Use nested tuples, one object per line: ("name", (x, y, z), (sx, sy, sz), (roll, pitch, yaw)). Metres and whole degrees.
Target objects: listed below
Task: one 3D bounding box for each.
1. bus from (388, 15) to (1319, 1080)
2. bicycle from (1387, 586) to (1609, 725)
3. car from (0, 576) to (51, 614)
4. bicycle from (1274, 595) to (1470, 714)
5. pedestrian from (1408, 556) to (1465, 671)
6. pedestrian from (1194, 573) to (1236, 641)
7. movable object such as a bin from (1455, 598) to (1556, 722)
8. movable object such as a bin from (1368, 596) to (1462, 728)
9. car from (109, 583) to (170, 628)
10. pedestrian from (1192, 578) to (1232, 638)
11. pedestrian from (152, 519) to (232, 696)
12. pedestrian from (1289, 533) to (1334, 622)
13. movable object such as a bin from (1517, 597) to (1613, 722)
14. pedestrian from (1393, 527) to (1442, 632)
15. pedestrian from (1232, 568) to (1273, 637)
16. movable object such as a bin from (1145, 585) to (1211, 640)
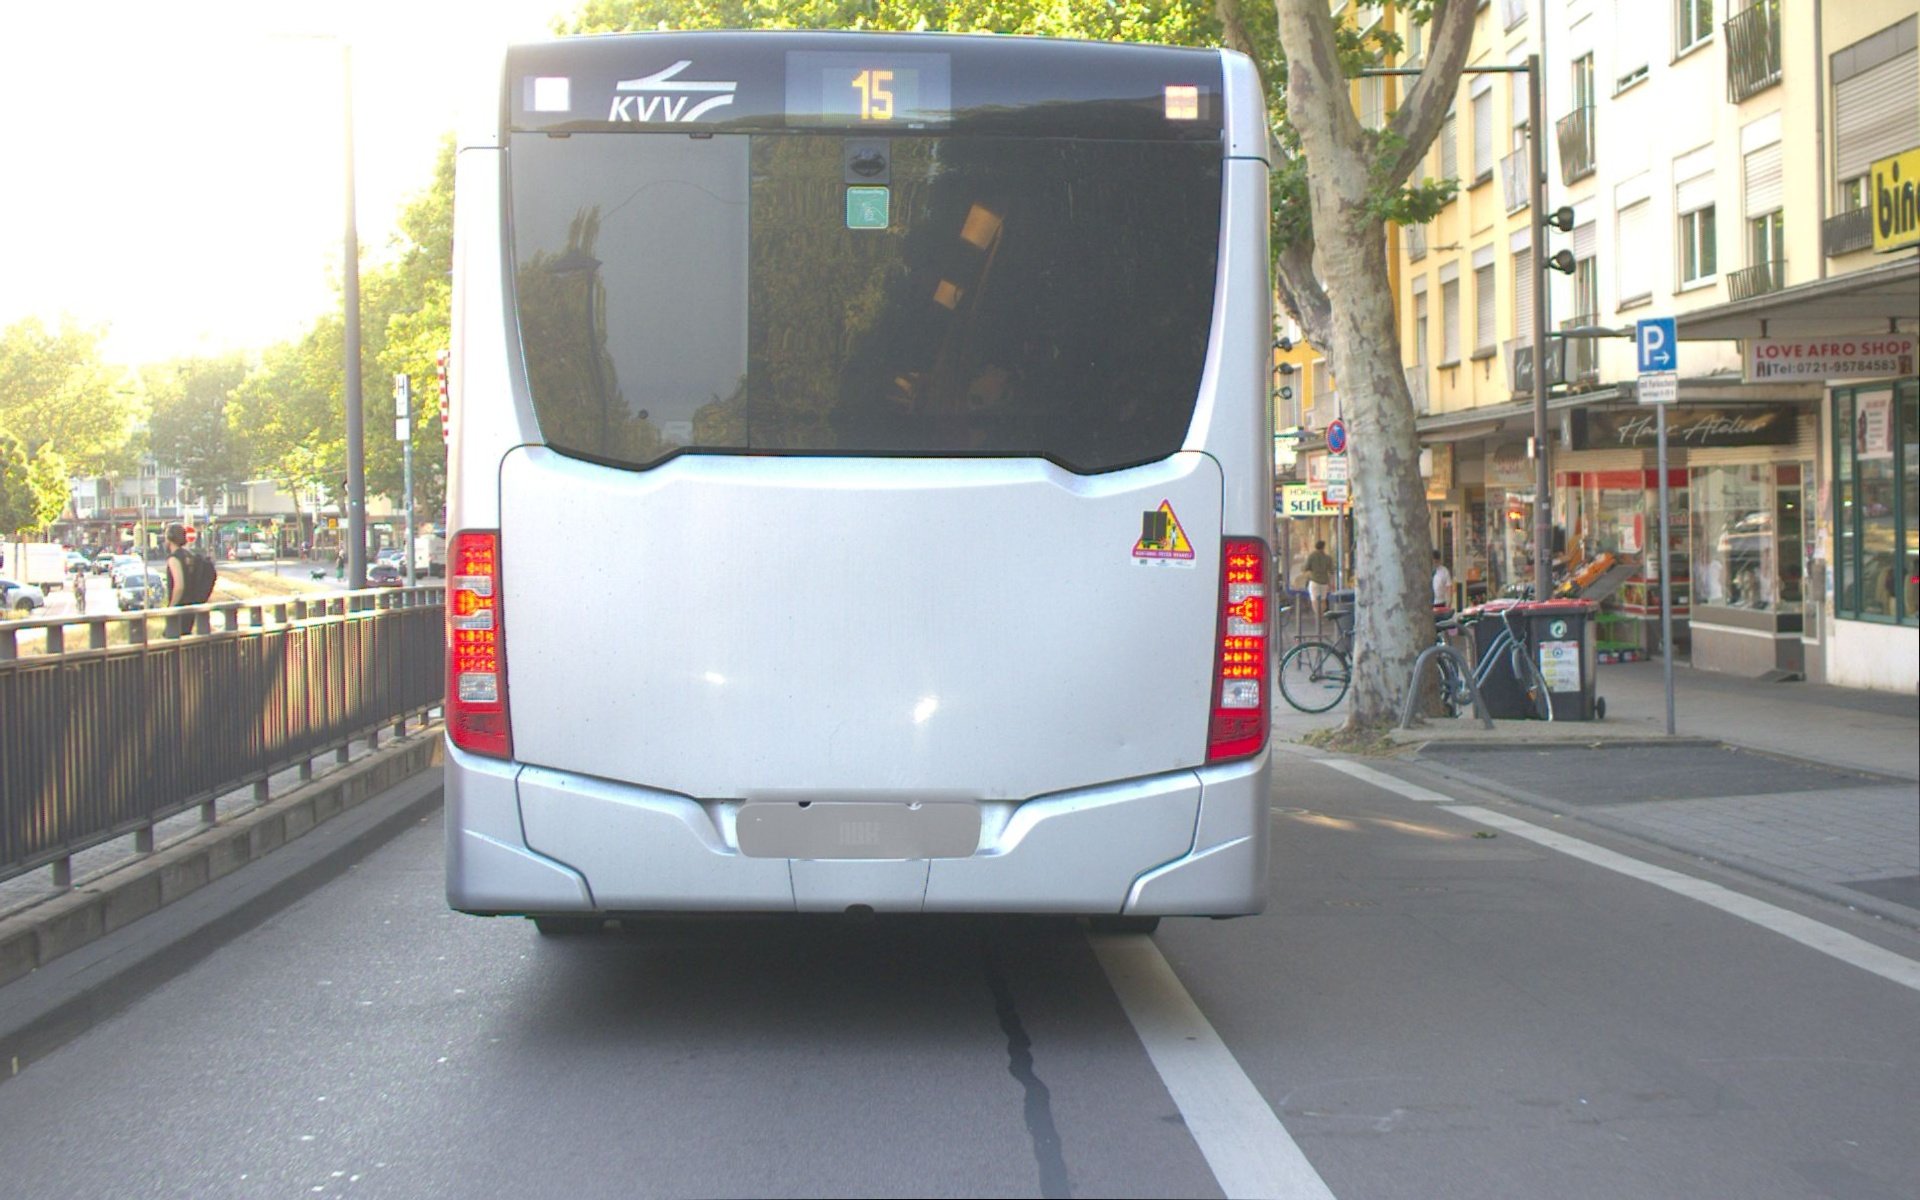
("bus", (-0.512, -0.214, 13.552), (2.677, 3.073, 7.115), (-1, 1, -3))
("bicycle", (4.509, 0.472, 28.892), (1.717, 1.114, 0.745), (-1, -3, -1))
("car", (-37.515, -0.172, 132.264), (4.540, 1.407, 1.999), (-1, 1, -45))
("bicycle", (4.193, 0.556, 35.054), (1.907, 1.101, 0.518), (-3, 0, 5))
("pedestrian", (6.738, 0.190, 48.647), (0.622, 1.581, 0.627), (-3, 1, -3))
("pedestrian", (4.598, 0.121, 61.932), (0.605, 1.221, 0.745), (-1, 0, -8))
("movable object such as a bin", (4.914, 0.534, 31.007), (0.722, 1.068, 0.644), (-3, 0, -3))
("movable object such as a bin", (4.050, 0.546, 30.661), (0.722, 1.098, 0.644), (-5, 0, 5))
("car", (-30.105, 0.184, 126.209), (1.722, 1.504, 3.477), (-3, 1, -8))
("pedestrian", (4.718, 0.148, 64.308), (0.583, 1.111, 0.751), (1, 0, -8))
("pedestrian", (-8.110, 0.073, 36.327), (0.741, 1.842, 0.590), (-1, 1, -7))
("pedestrian", (7.305, -0.469, 71.527), (0.706, 1.785, 0.788), (-4, 1, -3))
("movable object such as a bin", (5.376, 0.524, 30.544), (0.723, 1.068, 0.643), (-2, 0, 17))
("pedestrian", (7.917, -0.352, 59.518), (0.636, 1.797, 0.626), (-1, 0, 27))
("pedestrian", (5.414, 0.041, 63.675), (0.583, 1.270, 0.759), (1, 0, -8))
("movable object such as a bin", (4.127, 0.244, 65.170), (0.926, 1.020, 0.840), (1, 0, -32))
